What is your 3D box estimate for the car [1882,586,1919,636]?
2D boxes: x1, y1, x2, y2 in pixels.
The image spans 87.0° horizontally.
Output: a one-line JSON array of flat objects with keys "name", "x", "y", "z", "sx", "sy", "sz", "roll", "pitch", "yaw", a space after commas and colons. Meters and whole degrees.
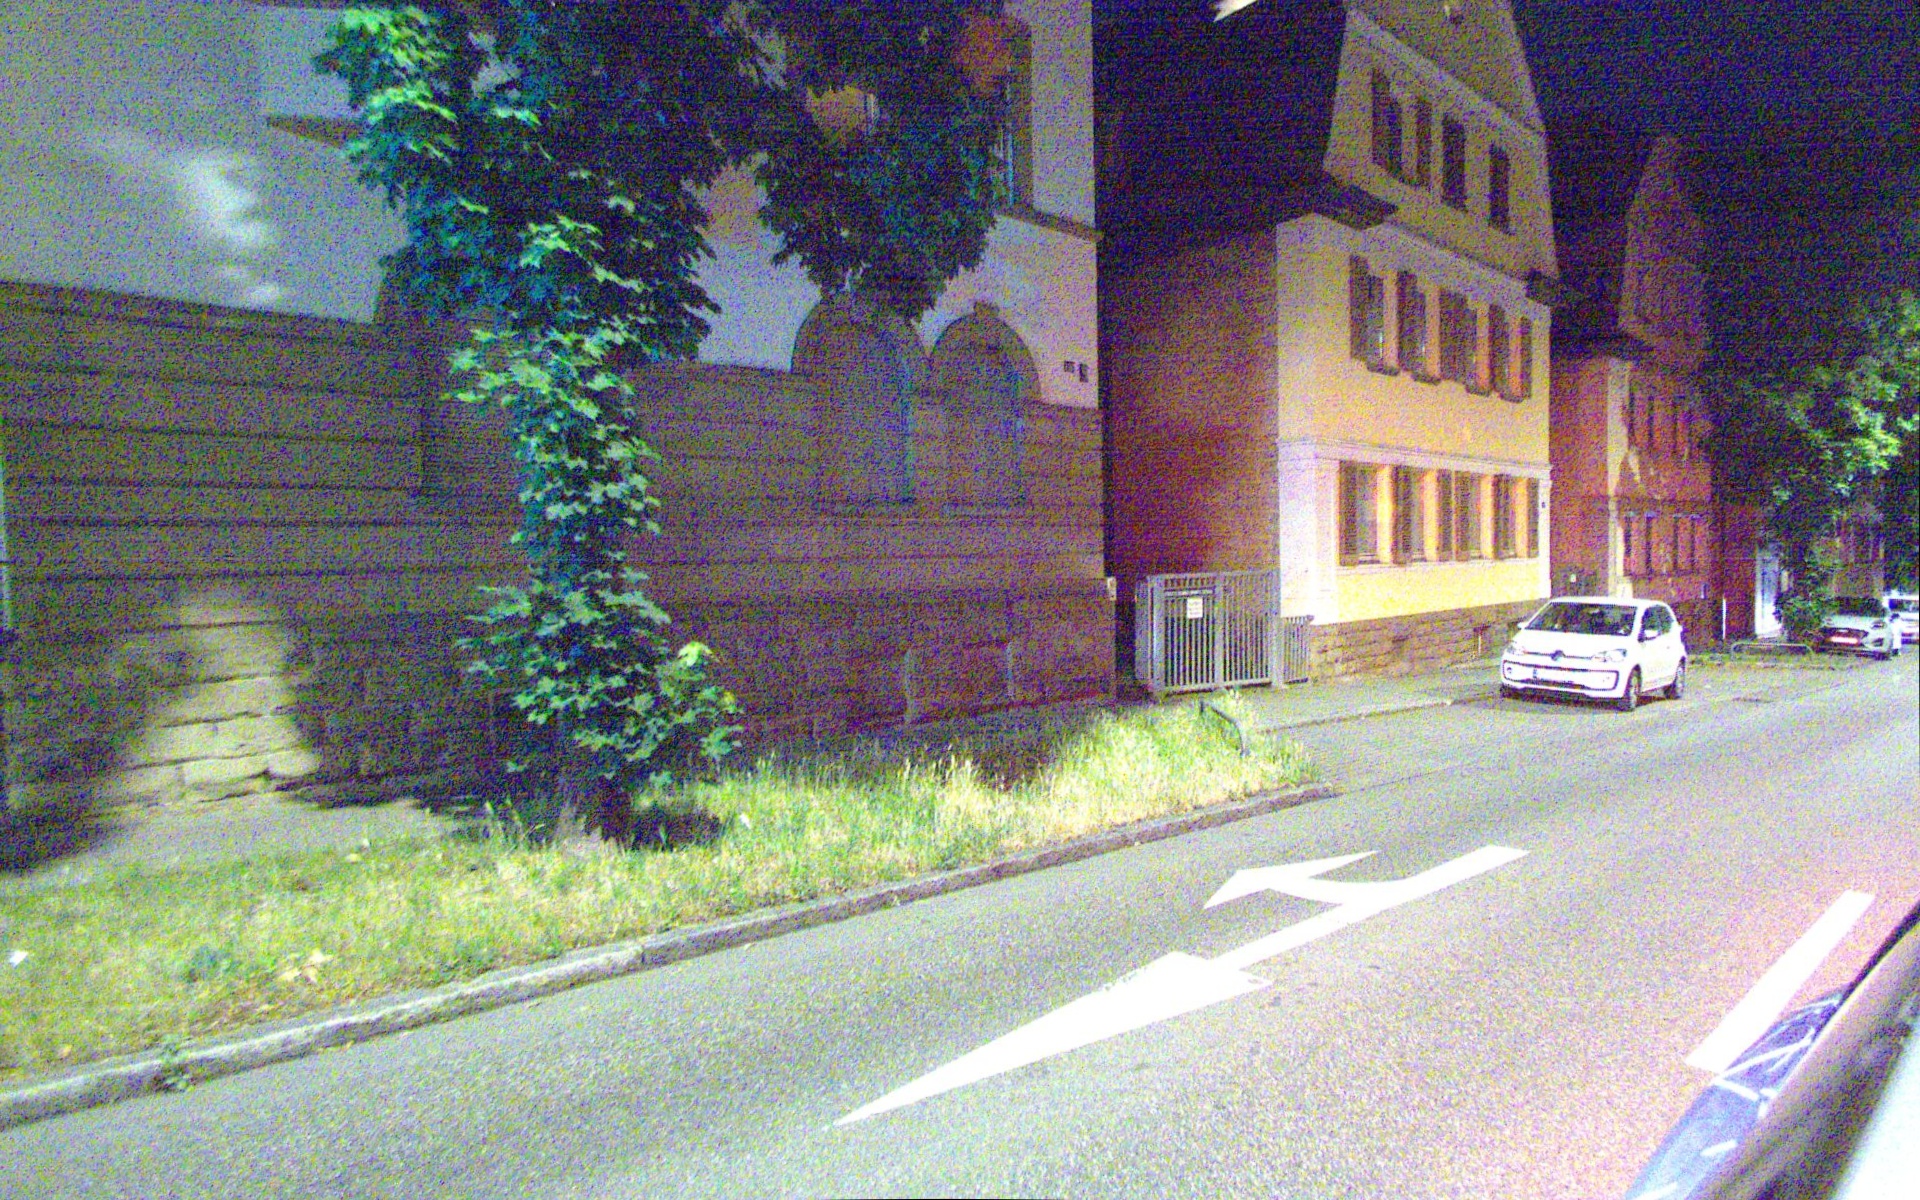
[{"name": "car", "x": 33.543, "y": 0.370, "z": 35.137, "sx": 4.107, "sy": 1.673, "sz": 1.850, "roll": 0, "pitch": 0, "yaw": -42}]

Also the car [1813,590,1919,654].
[{"name": "car", "x": 23.619, "y": 0.510, "z": 26.281, "sx": 3.824, "sy": 1.516, "sz": 1.740, "roll": 0, "pitch": 2, "yaw": -43}]

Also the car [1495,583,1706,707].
[{"name": "car", "x": 9.251, "y": 0.557, "z": 14.536, "sx": 3.425, "sy": 1.527, "sz": 1.610, "roll": 0, "pitch": 2, "yaw": -41}]
